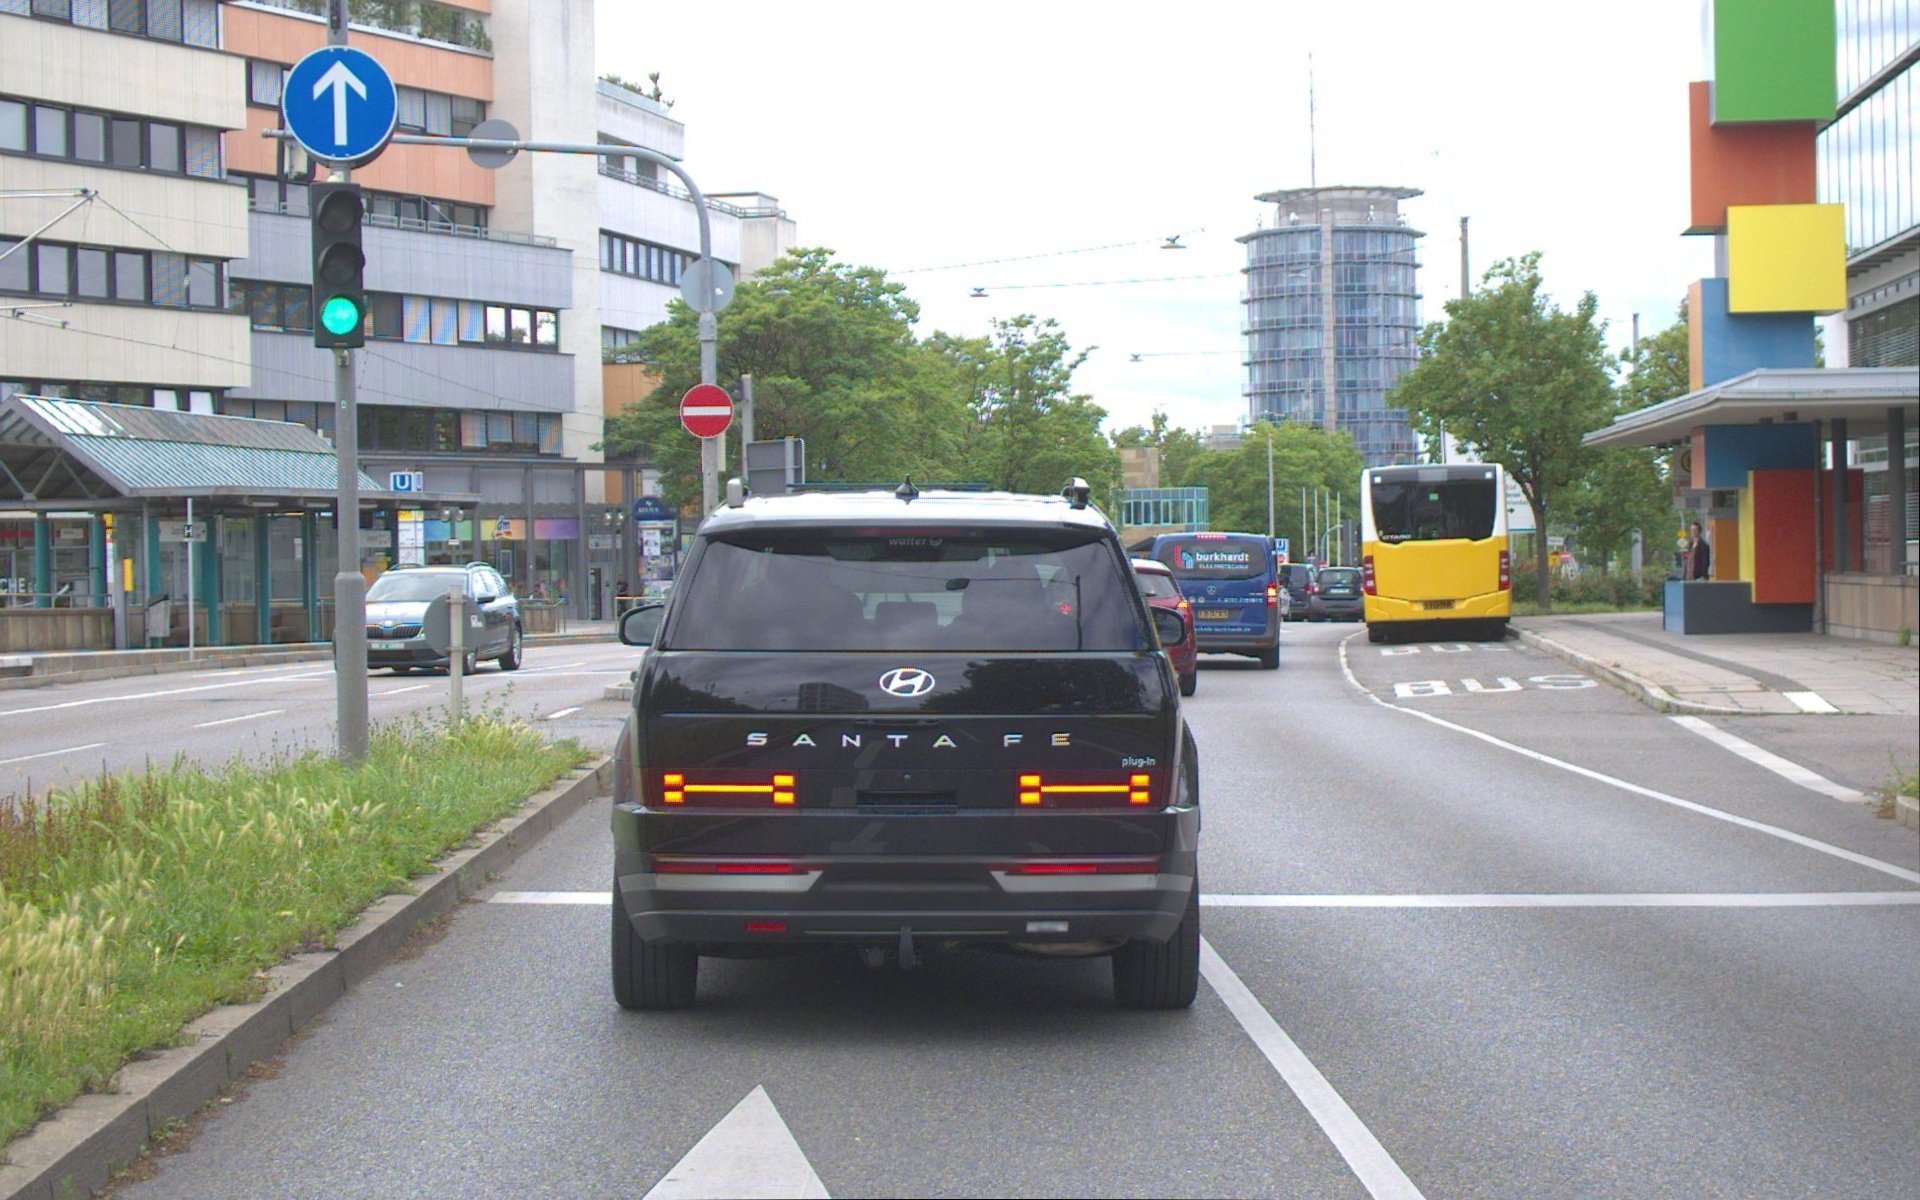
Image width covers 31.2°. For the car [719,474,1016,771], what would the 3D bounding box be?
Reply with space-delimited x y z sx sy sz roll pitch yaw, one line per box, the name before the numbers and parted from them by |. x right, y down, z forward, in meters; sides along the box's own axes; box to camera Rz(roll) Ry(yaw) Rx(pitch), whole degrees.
car | -0.775 0.091 25.204 1.902 1.962 4.637 1 1 -5

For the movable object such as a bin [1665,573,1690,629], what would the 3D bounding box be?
movable object such as a bin | 11.550 0.013 55.339 0.356 0.894 0.462 -1 0 7

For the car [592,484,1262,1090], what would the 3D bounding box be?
car | -0.322 0.481 12.069 1.901 1.725 4.447 1 1 -6

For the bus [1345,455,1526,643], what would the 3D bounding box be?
bus | 8.752 -0.908 63.363 2.967 3.106 9.241 -2 0 8

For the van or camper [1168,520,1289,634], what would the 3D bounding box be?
van or camper | 4.778 -0.444 61.681 1.994 1.911 4.409 0 2 2

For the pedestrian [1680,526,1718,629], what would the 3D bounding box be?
pedestrian | 12.018 -0.366 55.902 0.524 1.667 0.733 -1 0 7

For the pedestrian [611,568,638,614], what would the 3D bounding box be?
pedestrian | -12.275 -0.343 125.784 0.732 1.667 0.581 0 0 30

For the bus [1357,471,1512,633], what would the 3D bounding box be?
bus | 10.041 -0.983 72.785 2.953 3.101 9.973 -2 0 8

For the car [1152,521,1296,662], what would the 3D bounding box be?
car | 3.673 -0.165 48.476 1.902 1.852 4.709 1 1 3

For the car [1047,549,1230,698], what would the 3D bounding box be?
car | 1.995 0.222 39.689 1.902 1.537 4.710 1 1 1

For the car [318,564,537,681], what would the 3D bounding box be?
car | -6.986 0.259 45.559 1.798 1.450 4.611 -1 1 5
